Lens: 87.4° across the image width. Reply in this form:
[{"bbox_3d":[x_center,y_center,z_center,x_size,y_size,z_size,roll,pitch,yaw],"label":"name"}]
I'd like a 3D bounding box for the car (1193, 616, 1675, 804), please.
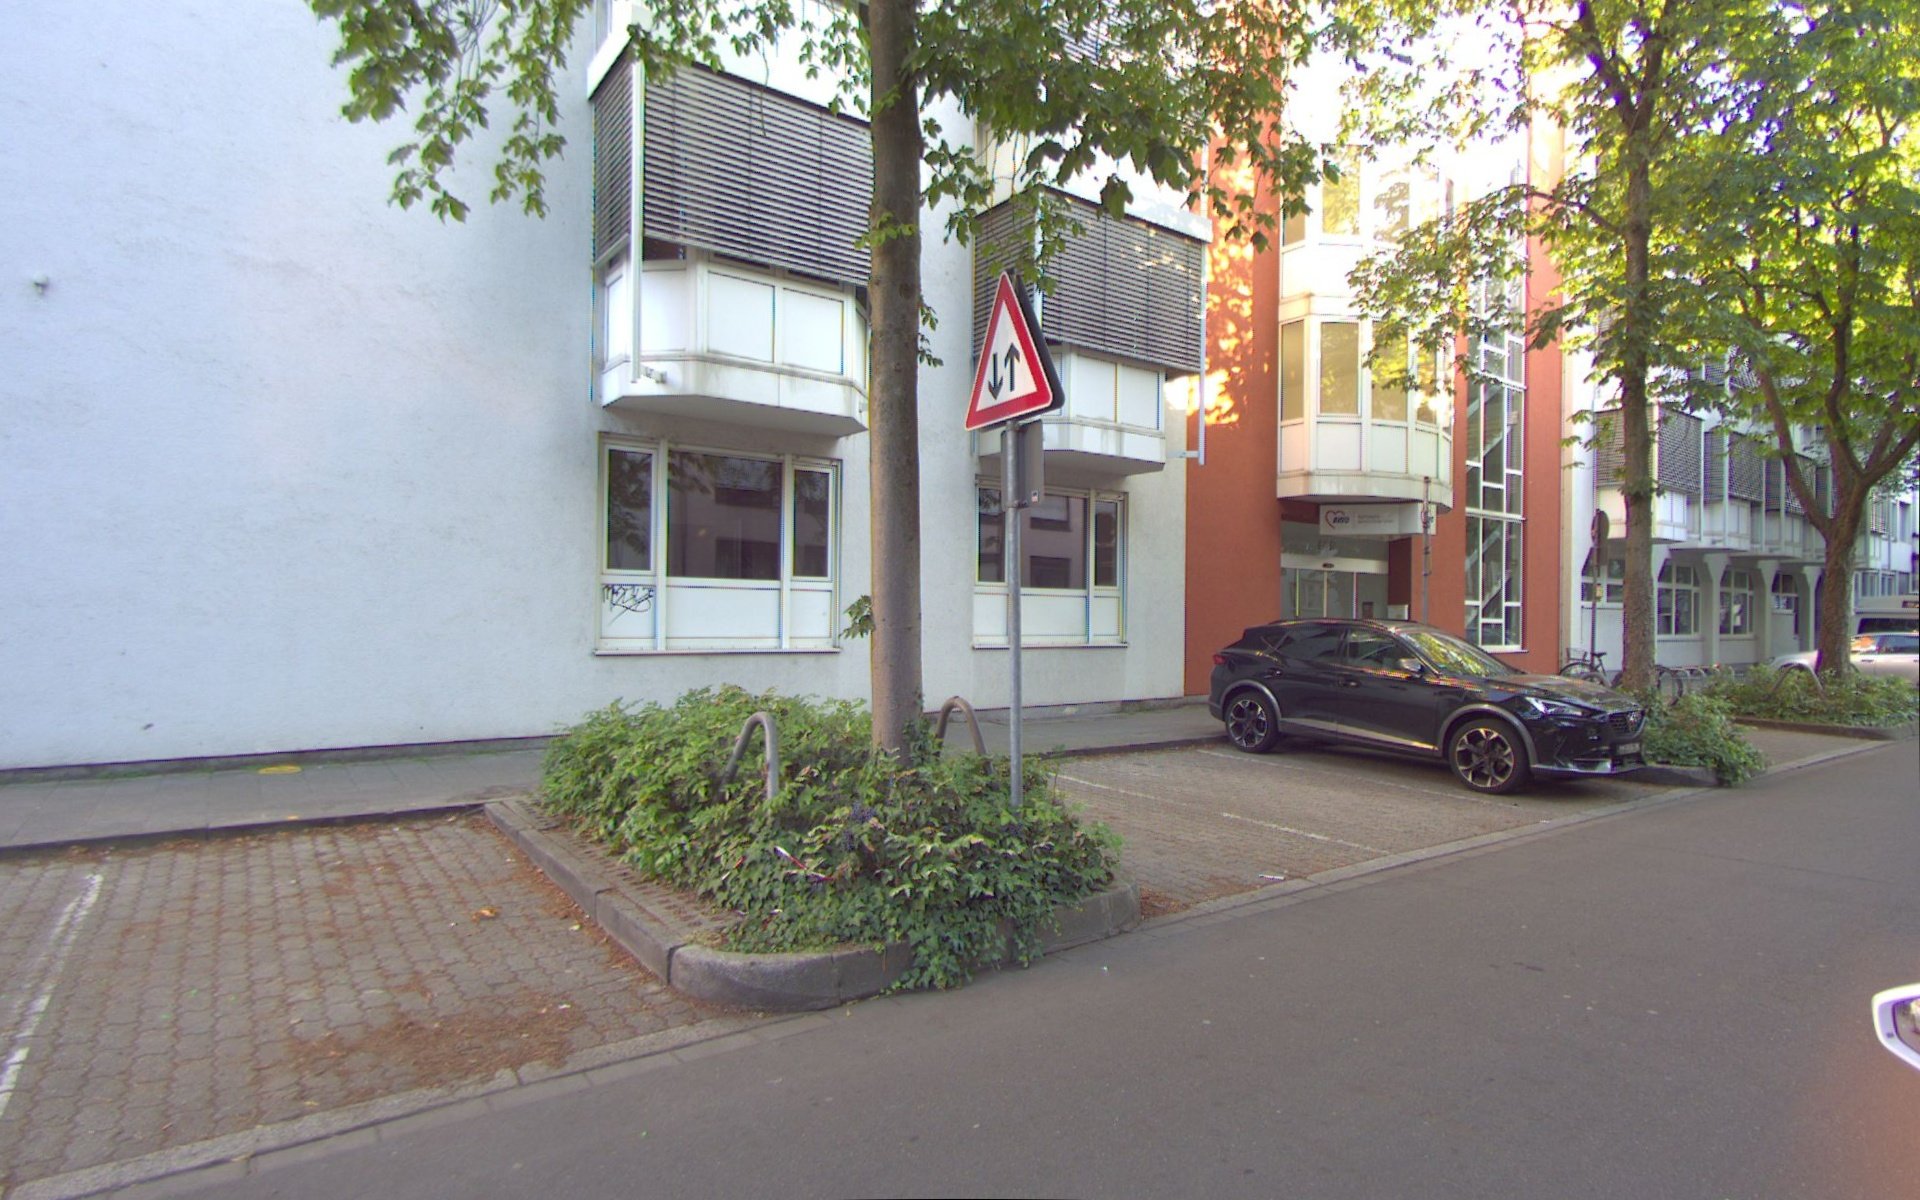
[{"bbox_3d":[4.716,0.953,10.614,1.768,1.537,4.325,1,-1,-35],"label":"car"}]

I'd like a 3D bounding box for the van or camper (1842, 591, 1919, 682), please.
[{"bbox_3d":[27.902,1.031,28.041,1.981,2.511,4.632,1,-1,-36],"label":"van or camper"}]

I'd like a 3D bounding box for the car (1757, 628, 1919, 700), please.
[{"bbox_3d":[21.161,1.438,23.240,1.767,1.537,3.942,1,-1,-35],"label":"car"}]
